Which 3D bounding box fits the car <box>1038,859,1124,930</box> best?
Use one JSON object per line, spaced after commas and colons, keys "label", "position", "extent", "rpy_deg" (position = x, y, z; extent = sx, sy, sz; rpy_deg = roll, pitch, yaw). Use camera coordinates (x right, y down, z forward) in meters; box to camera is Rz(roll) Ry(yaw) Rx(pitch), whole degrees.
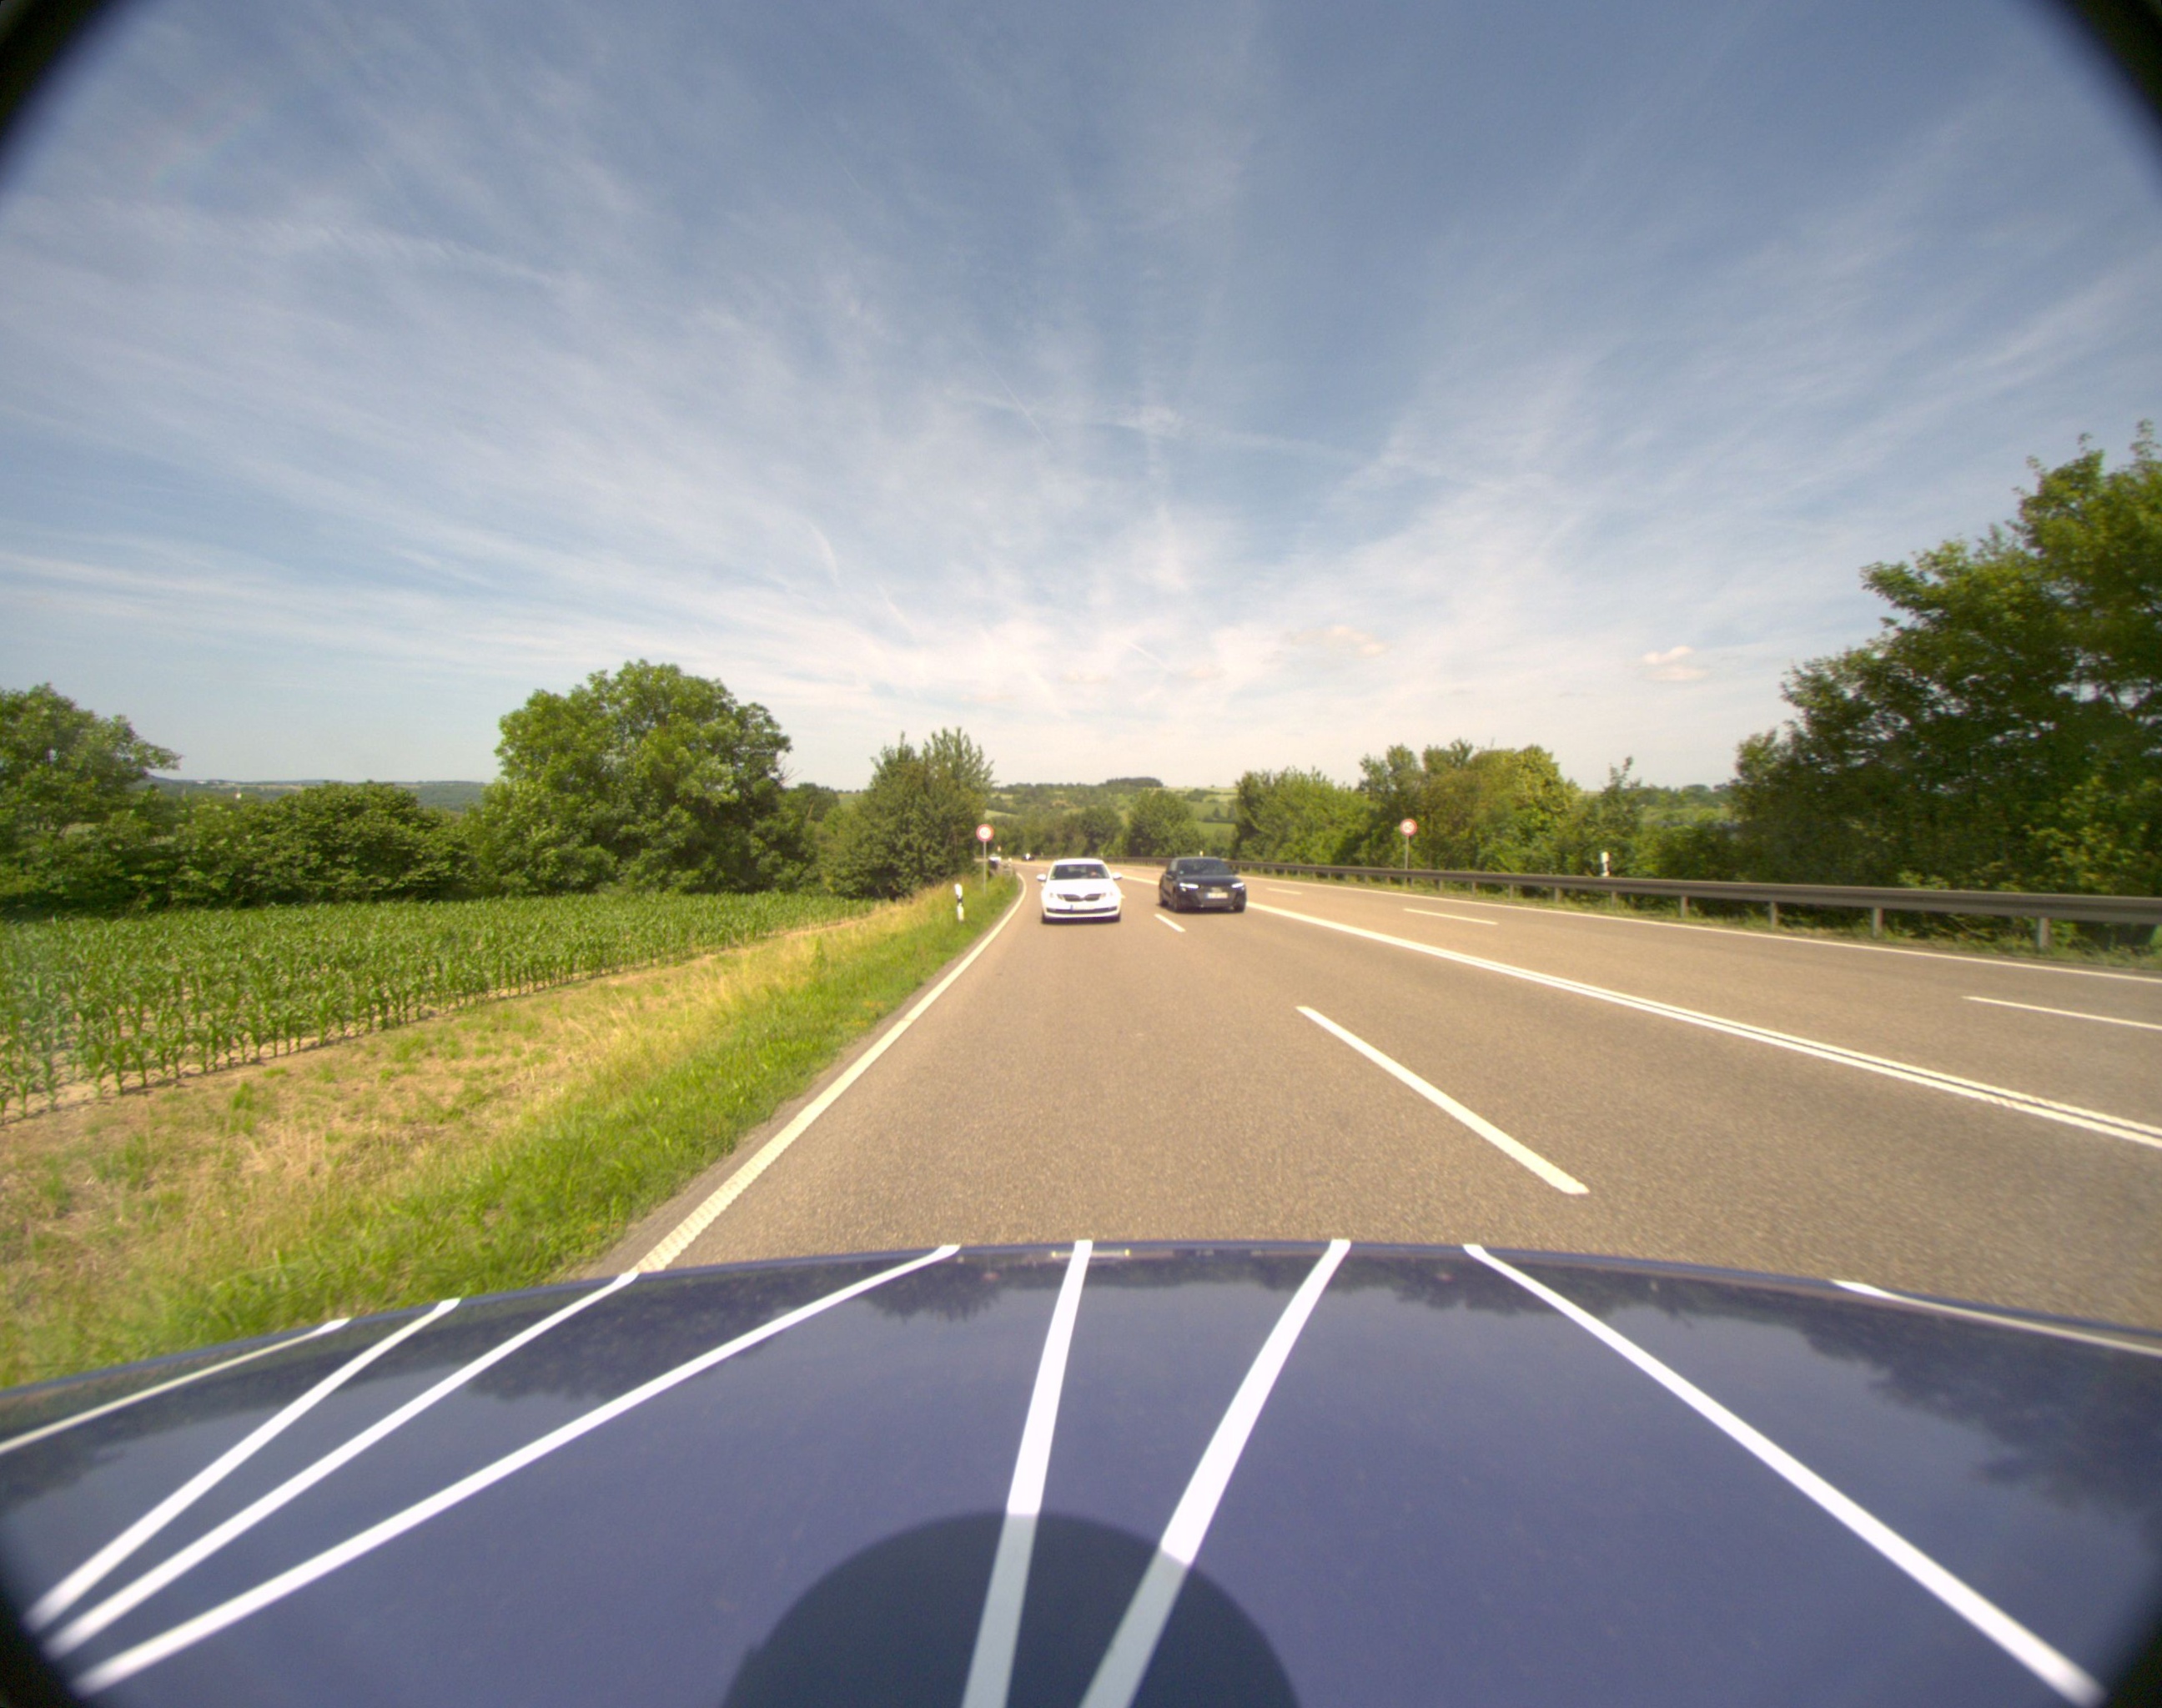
{"label": "car", "position": [-0.085, 0.887, 18.803], "extent": [1.826, 1.463, 4.787], "rpy_deg": [-1, 0, -2]}

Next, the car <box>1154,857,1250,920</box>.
{"label": "car", "position": [3.178, 0.859, 20.868], "extent": [1.710, 1.464, 4.810], "rpy_deg": [-1, 0, -2]}

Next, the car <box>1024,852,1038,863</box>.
{"label": "car", "position": [-8.874, 0.614, 134.877], "extent": [1.795, 1.797, 3.995], "rpy_deg": [-2, 1, -13]}

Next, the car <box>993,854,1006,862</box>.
{"label": "car", "position": [-13.979, 0.666, 130.715], "extent": [1.709, 1.368, 4.598], "rpy_deg": [-1, 0, -12]}
